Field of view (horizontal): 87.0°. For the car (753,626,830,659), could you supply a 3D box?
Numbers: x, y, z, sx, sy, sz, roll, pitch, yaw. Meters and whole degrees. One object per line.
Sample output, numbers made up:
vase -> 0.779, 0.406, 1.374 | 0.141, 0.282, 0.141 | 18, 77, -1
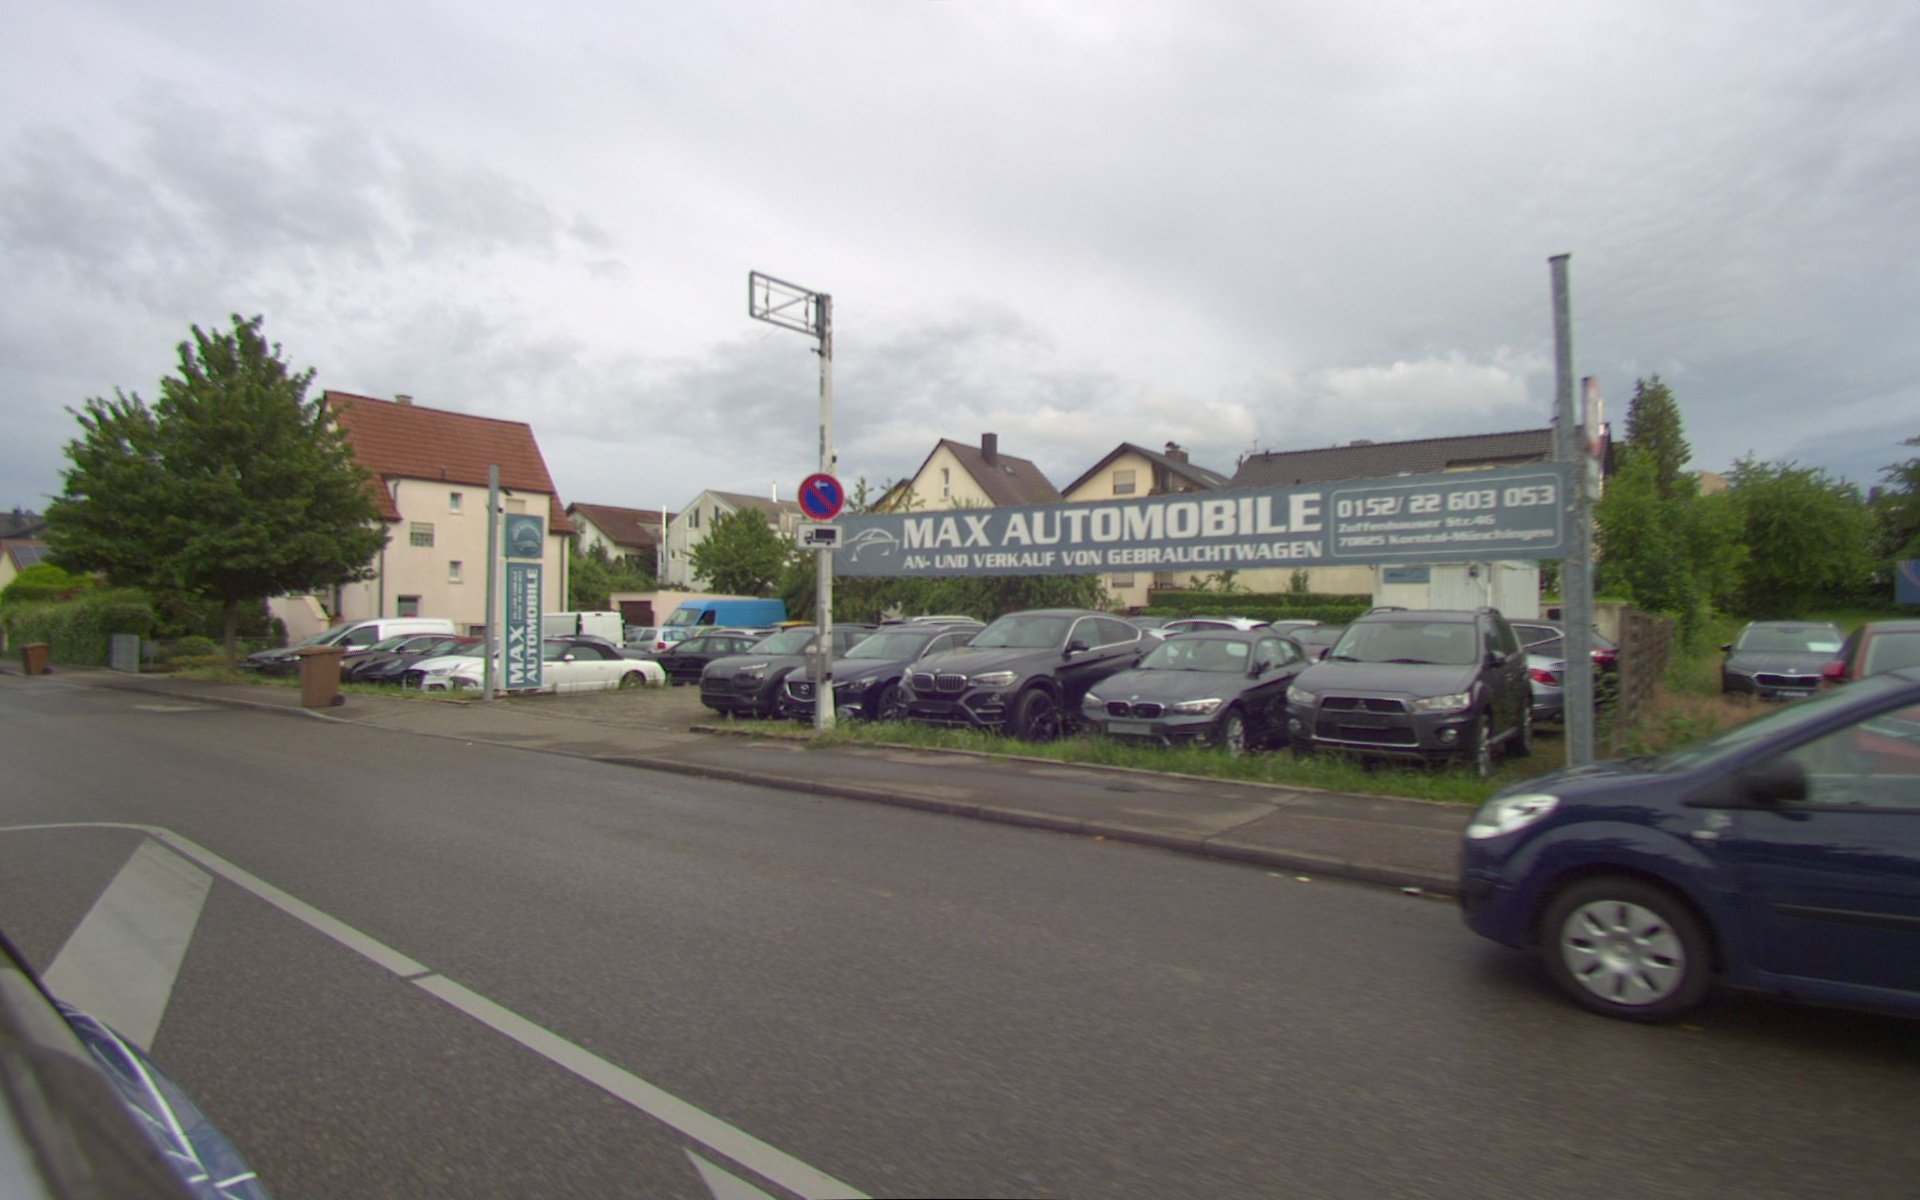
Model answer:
car -> -6.979, 1.745, 42.230 | 1.335, 1.343, 3.195 | -1, -2, 35

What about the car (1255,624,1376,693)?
car -> 8.224, 1.267, 23.207 | 1.740, 1.425, 3.902 | -1, -2, 33

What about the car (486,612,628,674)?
car -> -13.593, 1.433, 34.045 | 5.042, 1.945, 1.976 | -1, -3, 35

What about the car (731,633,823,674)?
car -> -6.402, 1.841, 35.682 | 1.335, 1.343, 3.195 | -1, -2, 35

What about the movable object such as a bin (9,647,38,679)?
movable object such as a bin -> -27.892, 1.875, 30.135 | 0.505, 0.917, 0.535 | -1, 1, 36

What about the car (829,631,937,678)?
car -> -2.439, 1.718, 32.321 | 3.202, 1.426, 1.332 | -1, -2, 14

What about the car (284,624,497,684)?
car -> -14.760, 1.343, 26.508 | 1.892, 1.429, 4.521 | -1, -2, 33

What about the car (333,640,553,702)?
car -> -12.665, 1.680, 25.058 | 1.886, 1.319, 4.515 | -1, -2, 37

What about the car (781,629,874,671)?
car -> -4.464, 1.675, 34.384 | 1.335, 1.343, 3.195 | -1, -2, 35

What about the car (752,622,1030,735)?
car -> -0.920, 1.088, 15.662 | 1.938, 1.475, 4.306 | -2, -2, 38

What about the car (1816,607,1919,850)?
car -> 7.915, 0.845, 7.867 | 1.802, 1.555, 3.947 | -2, -1, 39

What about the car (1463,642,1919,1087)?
car -> 4.050, 0.903, 3.725 | 3.679, 1.444, 1.610 | -1, -2, 39

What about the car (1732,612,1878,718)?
car -> 13.505, 0.969, 16.284 | 1.590, 1.439, 3.597 | -3, -1, 39

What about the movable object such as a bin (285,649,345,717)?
movable object such as a bin -> -11.476, 1.464, 18.017 | 0.734, 1.138, 0.701 | -1, -1, 37

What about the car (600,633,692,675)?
car -> -10.683, 1.802, 34.368 | 3.108, 1.343, 1.373 | -1, -2, 35

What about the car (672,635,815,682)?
car -> -6.336, 1.671, 29.561 | 3.978, 1.267, 1.607 | -1, -2, 26

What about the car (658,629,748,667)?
car -> -9.592, 1.773, 37.970 | 1.335, 1.343, 3.195 | -1, -2, 35

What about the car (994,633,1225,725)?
car -> 2.729, 1.394, 18.958 | 3.994, 1.542, 1.675 | -2, -3, 38

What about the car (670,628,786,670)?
car -> -7.445, 1.537, 32.446 | 3.520, 1.245, 1.647 | -1, -2, 31

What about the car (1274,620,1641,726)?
car -> 8.103, 1.119, 16.803 | 5.210, 1.513, 1.880 | -2, -3, 38

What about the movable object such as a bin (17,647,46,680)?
movable object such as a bin -> -27.436, 1.878, 29.907 | 0.424, 0.917, 0.535 | -1, 1, 36

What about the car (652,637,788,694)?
car -> -6.228, 1.672, 26.361 | 3.202, 1.426, 1.332 | -1, -2, 14

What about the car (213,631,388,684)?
car -> -18.968, 1.604, 29.252 | 1.756, 1.383, 3.880 | -1, -2, 33

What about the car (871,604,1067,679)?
car -> 0.224, 0.867, 22.337 | 3.933, 1.511, 1.942 | 1, -2, -34

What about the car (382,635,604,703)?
car -> -10.737, 1.530, 23.557 | 1.886, 1.384, 4.336 | -1, -2, 37

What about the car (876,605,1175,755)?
car -> 1.053, 0.961, 13.876 | 2.055, 1.704, 4.306 | -2, -2, 38

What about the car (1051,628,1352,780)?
car -> 3.080, 1.088, 12.224 | 1.956, 1.443, 4.306 | -2, -2, 38

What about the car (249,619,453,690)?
car -> -16.792, 1.447, 28.141 | 1.892, 1.804, 4.521 | -1, -2, 33

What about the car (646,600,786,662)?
car -> -9.951, 1.225, 41.686 | 2.043, 2.392, 5.618 | -1, -1, 37

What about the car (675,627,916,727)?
car -> -2.734, 1.230, 17.519 | 1.837, 1.475, 3.949 | -2, -2, 38

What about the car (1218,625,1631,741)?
car -> 6.623, 1.105, 14.818 | 5.210, 1.431, 1.880 | -2, -3, 38

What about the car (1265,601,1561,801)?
car -> 5.056, 0.908, 10.939 | 1.956, 1.703, 4.306 | -2, -2, 38

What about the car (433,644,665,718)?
car -> -8.794, 1.676, 22.011 | 1.768, 1.342, 4.410 | -1, -2, 37

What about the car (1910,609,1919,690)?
car -> 19.345, 0.961, 19.143 | 1.752, 1.564, 3.946 | -3, -1, 41
